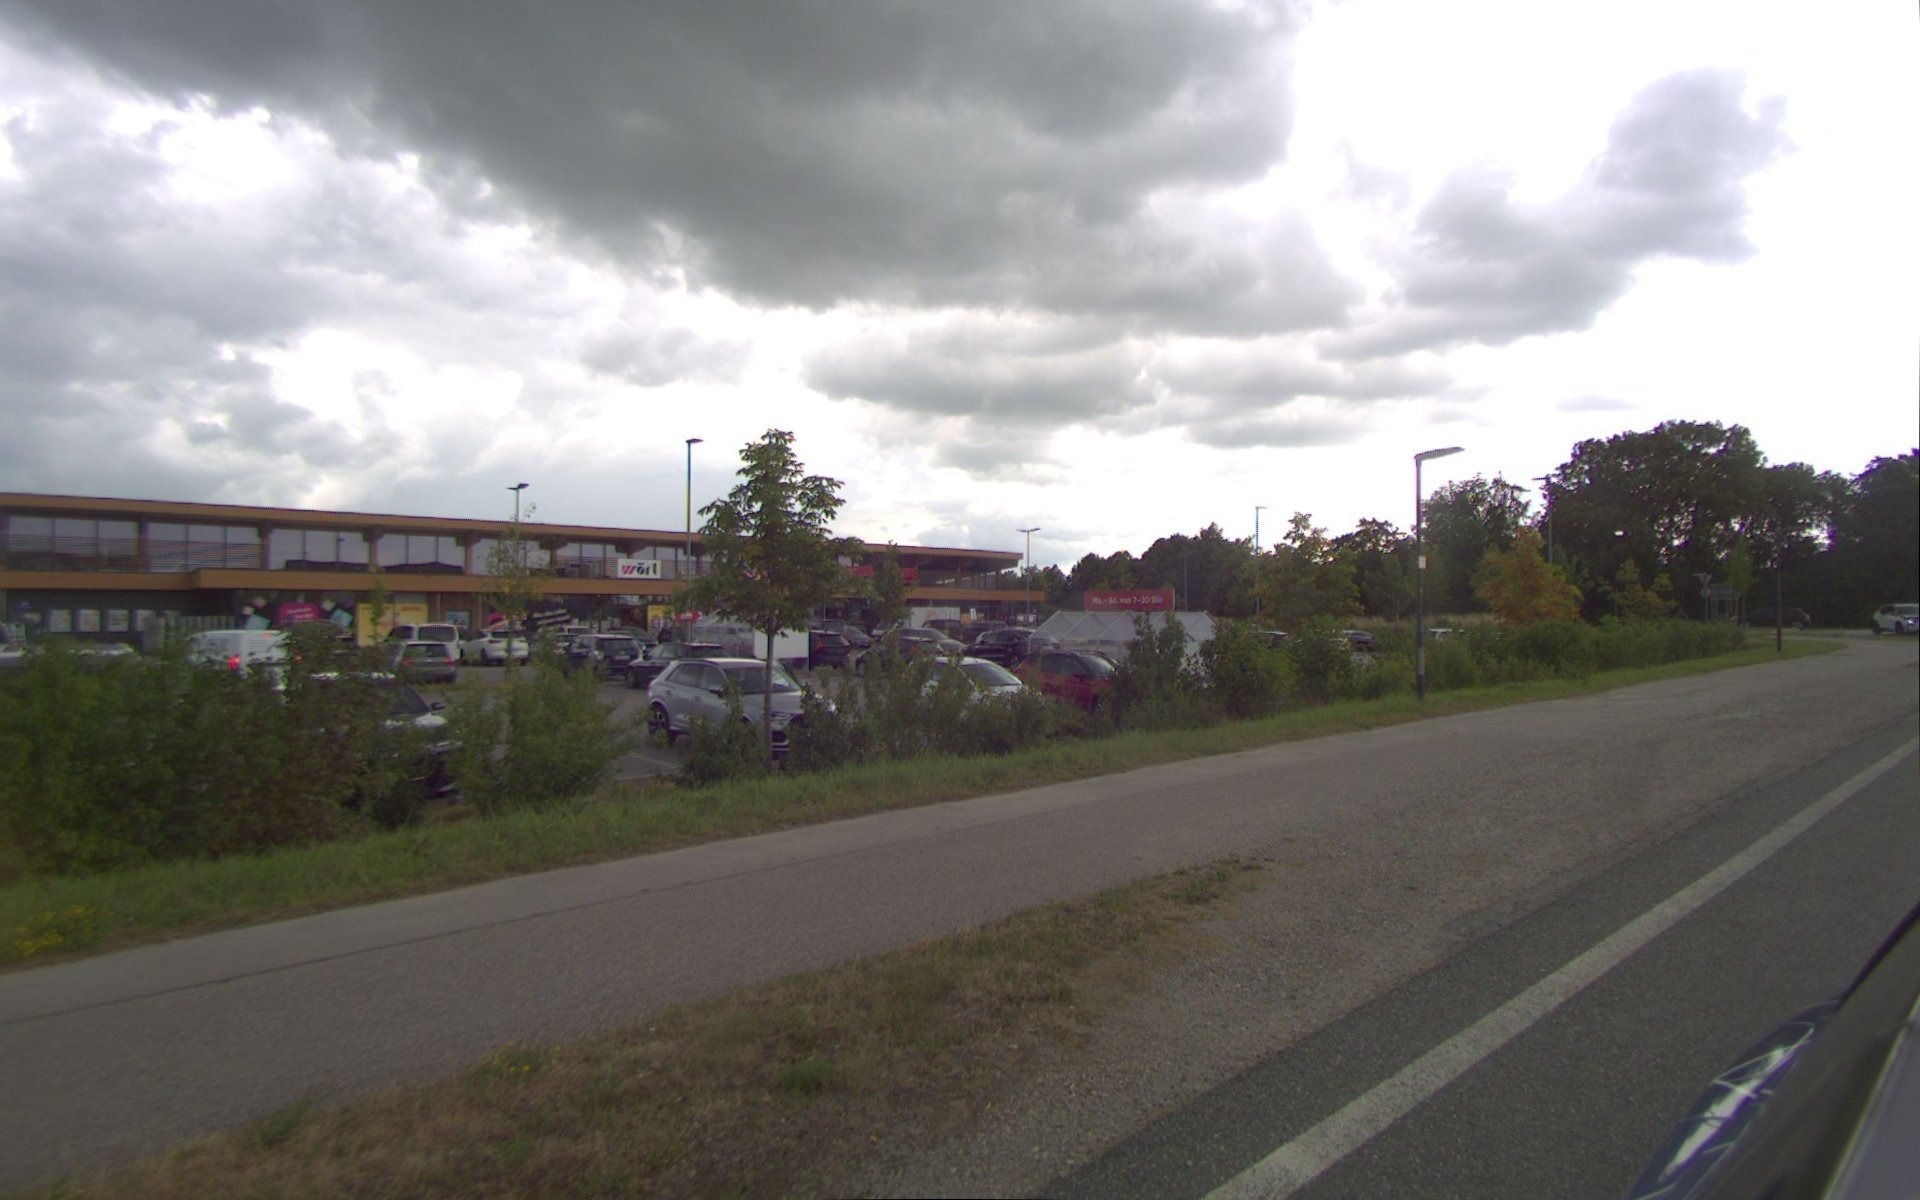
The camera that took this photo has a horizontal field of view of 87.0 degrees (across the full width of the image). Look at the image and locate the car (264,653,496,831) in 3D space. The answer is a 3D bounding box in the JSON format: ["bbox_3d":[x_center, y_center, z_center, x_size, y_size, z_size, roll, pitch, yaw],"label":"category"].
[{"bbox_3d":[-8.064,1.717,13.804,1.728,1.618,5.103,1,1,-42],"label":"car"}]

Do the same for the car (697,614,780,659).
[{"bbox_3d":[-11.405,1.812,51.867,1.965,2.039,5.138,1,1,-41],"label":"car"}]

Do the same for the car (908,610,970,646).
[{"bbox_3d":[-1.333,1.673,62.549,1.962,2.039,4.000,1,1,-35],"label":"car"}]

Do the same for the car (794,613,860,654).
[{"bbox_3d":[-7.468,1.823,56.568,1.962,2.039,4.000,1,1,-35],"label":"car"}]

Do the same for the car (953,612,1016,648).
[{"bbox_3d":[1.514,1.864,64.394,2.032,2.039,4.000,1,1,-35],"label":"car"}]

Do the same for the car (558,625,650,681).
[{"bbox_3d":[-12.409,1.766,35.122,1.962,1.638,4.000,1,1,-35],"label":"car"}]

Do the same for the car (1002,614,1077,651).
[{"bbox_3d":[4.506,1.810,57.936,1.962,1.894,4.274,1,1,-35],"label":"car"}]

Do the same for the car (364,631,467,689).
[{"bbox_3d":[-16.840,1.796,31.218,1.869,1.451,4.184,1,1,-42],"label":"car"}]

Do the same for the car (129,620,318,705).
[{"bbox_3d":[-19.855,1.600,27.271,4.893,1.930,2.091,1,1,26],"label":"car"}]

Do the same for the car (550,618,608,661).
[{"bbox_3d":[-20.332,2.044,53.925,1.962,2.039,4.000,1,1,-35],"label":"car"}]

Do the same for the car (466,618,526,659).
[{"bbox_3d":[-22.787,1.827,49.636,1.908,1.772,4.000,1,1,-35],"label":"car"}]

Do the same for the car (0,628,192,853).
[{"bbox_3d":[-10.776,1.476,12.270,1.966,2.039,4.600,1,1,-42],"label":"car"}]

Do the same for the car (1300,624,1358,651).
[{"bbox_3d":[22.184,2.224,60.959,1.808,1.377,4.003,1,1,-4],"label":"car"}]

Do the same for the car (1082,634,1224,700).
[{"bbox_3d":[5.465,1.840,28.939,1.647,1.557,3.762,1,1,-42],"label":"car"}]

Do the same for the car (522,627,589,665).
[{"bbox_3d":[-18.534,2.058,46.304,1.761,1.496,3.745,1,1,-40],"label":"car"}]

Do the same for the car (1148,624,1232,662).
[{"bbox_3d":[10.907,2.017,48.165,1.723,1.552,3.555,1,1,-41],"label":"car"}]

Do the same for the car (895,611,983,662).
[{"bbox_3d":[-0.978,1.563,44.703,1.962,2.039,4.000,1,1,-35],"label":"car"}]

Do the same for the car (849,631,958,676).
[{"bbox_3d":[-2.108,1.905,36.752,1.965,1.460,3.993,1,-1,-41],"label":"car"}]

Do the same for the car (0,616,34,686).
[{"bbox_3d":[-31.493,1.529,30.338,5.126,2.039,2.003,1,1,-27],"label":"car"}]

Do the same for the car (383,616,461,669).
[{"bbox_3d":[-22.552,1.725,42.330,2.004,1.935,3.899,1,1,-42],"label":"car"}]

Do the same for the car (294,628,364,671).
[{"bbox_3d":[-24.714,1.896,39.594,1.744,1.399,3.467,1,1,-42],"label":"car"}]

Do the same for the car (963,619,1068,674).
[{"bbox_3d":[2.177,1.793,40.562,1.962,1.894,4.274,1,1,-35],"label":"car"}]

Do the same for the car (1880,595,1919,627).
[{"bbox_3d":[48.495,0.538,50.986,1.977,1.538,3.742,1,1,22],"label":"car"}]

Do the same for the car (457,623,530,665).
[{"bbox_3d":[-20.644,1.892,44.716,2.003,1.628,3.745,1,1,-40],"label":"car"}]

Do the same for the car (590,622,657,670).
[{"bbox_3d":[-16.291,2.174,48.877,1.962,2.039,4.000,1,1,-35],"label":"car"}]

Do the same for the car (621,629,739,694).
[{"bbox_3d":[-8.504,1.788,30.574,1.964,1.638,3.996,1,1,-40],"label":"car"}]

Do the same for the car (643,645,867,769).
[{"bbox_3d":[-3.699,1.746,17.772,2.045,1.618,4.153,1,1,-42],"label":"car"}]

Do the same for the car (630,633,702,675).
[{"bbox_3d":[-16.944,3.057,58.130,1.965,2.039,5.138,1,1,-41],"label":"car"}]

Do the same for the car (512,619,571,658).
[{"bbox_3d":[-21.337,1.906,51.529,1.908,1.772,4.000,1,1,-35],"label":"car"}]

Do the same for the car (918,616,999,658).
[{"bbox_3d":[-0.124,1.816,50.893,1.962,1.894,4.274,1,1,-35],"label":"car"}]

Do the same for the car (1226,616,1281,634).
[{"bbox_3d":[23.888,2.061,82.475,3.916,1.377,1.705,1,1,-13],"label":"car"}]

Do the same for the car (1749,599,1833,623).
[{"bbox_3d":[54.343,0.715,66.285,3.964,1.438,1.699,1,1,29],"label":"car"}]

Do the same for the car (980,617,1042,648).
[{"bbox_3d":[3.337,2.108,67.086,2.032,1.871,4.000,1,1,-35],"label":"car"}]

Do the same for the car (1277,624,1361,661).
[{"bbox_3d":[17.590,2.101,49.677,1.770,1.728,3.385,1,-3,-41],"label":"car"}]

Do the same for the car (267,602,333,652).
[{"bbox_3d":[-29.508,1.143,45.203,1.819,2.035,4.224,1,1,-42],"label":"car"}]

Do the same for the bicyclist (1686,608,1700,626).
[{"bbox_3d":[53.178,1.258,73.429,0.545,1.259,0.659,1,0,0],"label":"bicyclist"}]

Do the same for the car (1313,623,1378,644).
[{"bbox_3d":[26.714,2.336,70.194,3.916,1.377,1.705,1,1,-13],"label":"car"}]

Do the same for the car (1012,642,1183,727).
[{"bbox_3d":[3.104,1.870,23.367,1.647,1.557,3.762,1,1,-42],"label":"car"}]

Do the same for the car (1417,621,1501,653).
[{"bbox_3d":[28.666,2.129,58.182,4.154,1.738,1.705,1,0,-13],"label":"car"}]

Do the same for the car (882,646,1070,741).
[{"bbox_3d":[0.250,1.900,21.594,1.647,1.557,4.153,1,1,-42],"label":"car"}]

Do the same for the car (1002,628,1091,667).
[{"bbox_3d":[4.038,2.195,47.901,1.962,1.571,4.131,1,1,-35],"label":"car"}]
